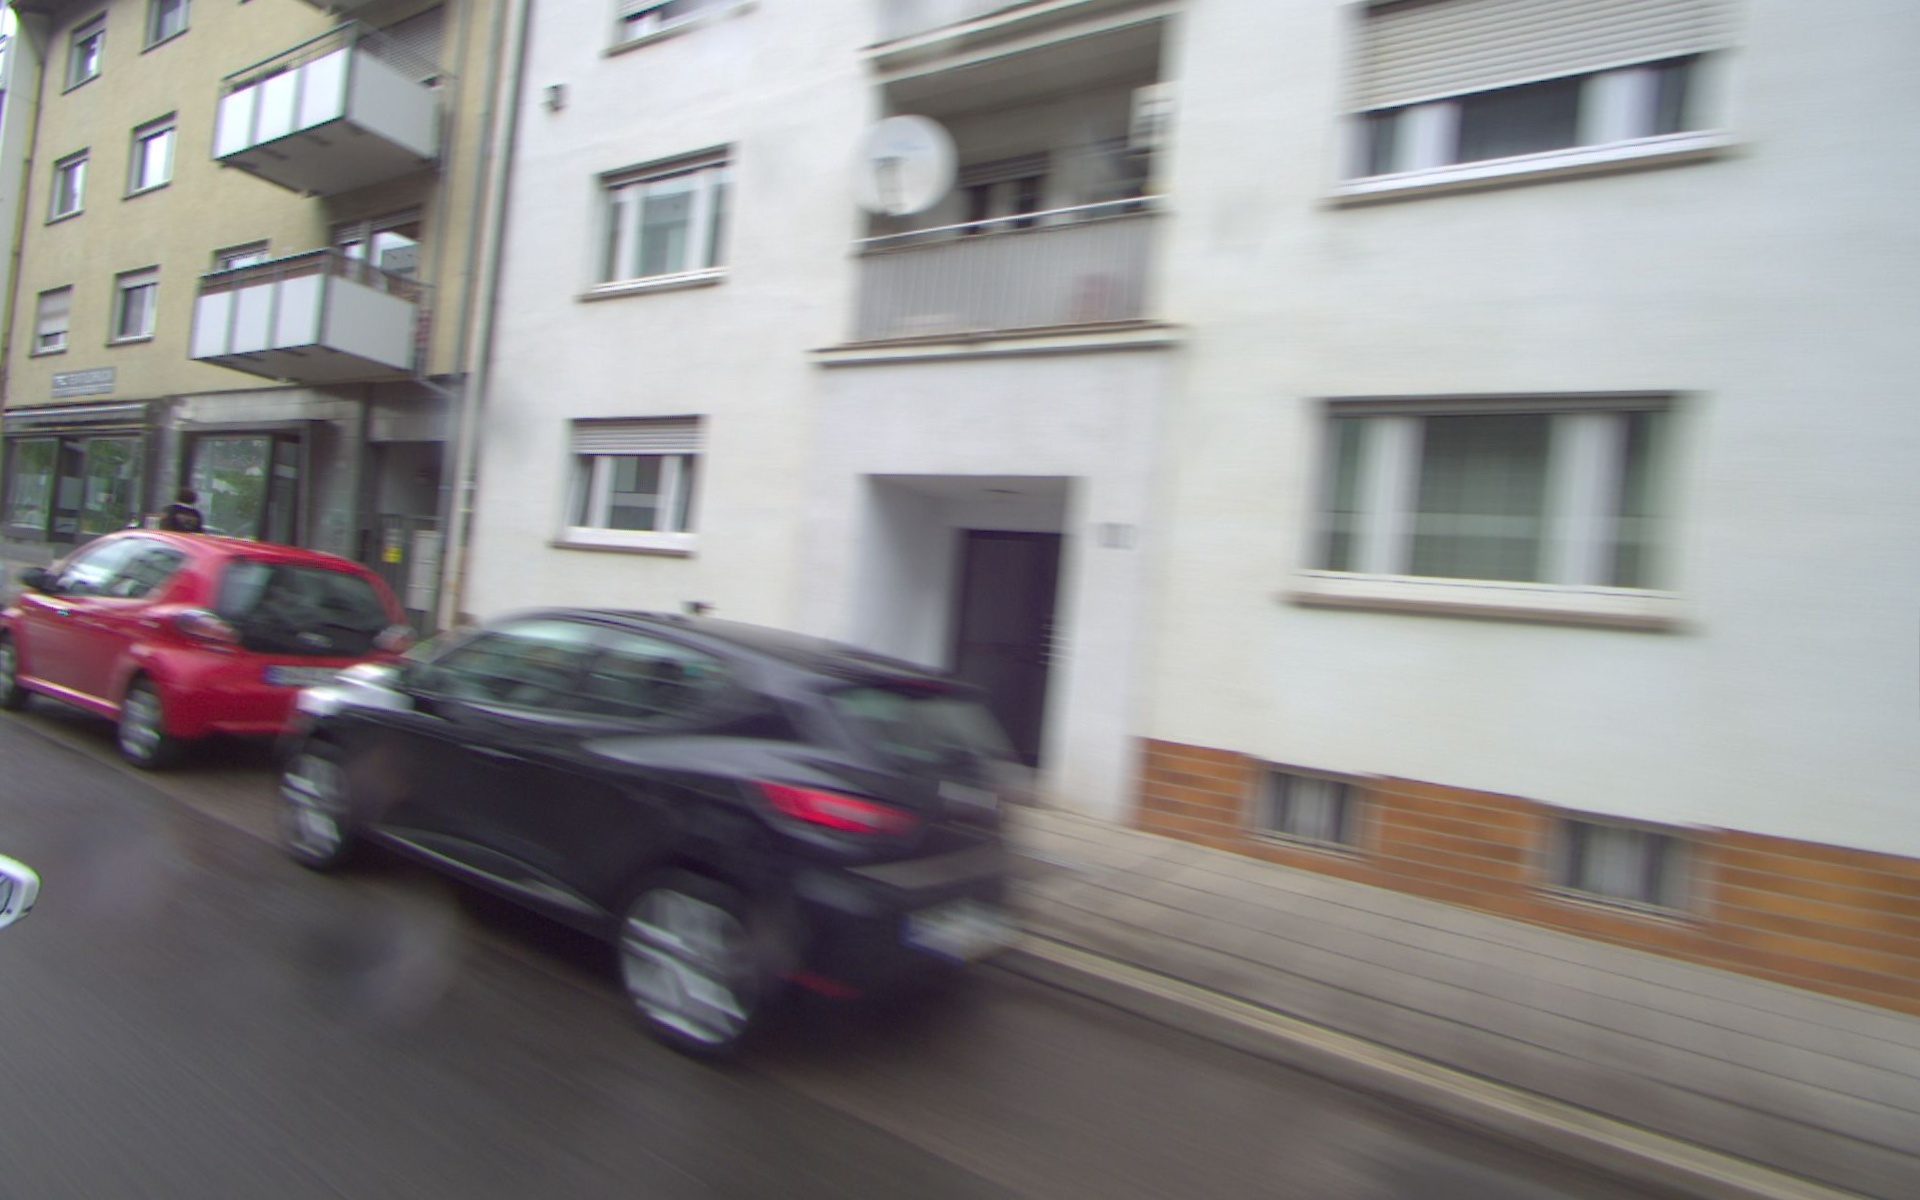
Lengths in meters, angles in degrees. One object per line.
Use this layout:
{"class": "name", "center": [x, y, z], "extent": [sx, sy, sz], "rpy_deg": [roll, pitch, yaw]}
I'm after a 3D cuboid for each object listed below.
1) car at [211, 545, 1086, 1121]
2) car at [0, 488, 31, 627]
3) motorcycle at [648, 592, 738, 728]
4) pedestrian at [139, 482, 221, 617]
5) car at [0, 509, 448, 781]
{"class": "car", "center": [-1.614, 0.732, 4.806], "extent": [3.918, 1.471, 1.709], "rpy_deg": [7, -1, 31]}
{"class": "car", "center": [-13.004, -0.735, 12.100], "extent": [3.649, 1.589, 1.638], "rpy_deg": [7, -1, 31]}
{"class": "motorcycle", "center": [-2.524, 0.555, 9.491], "extent": [0.768, 1.179, 0.253], "rpy_deg": [7, -1, 35]}
{"class": "pedestrian", "center": [-11.532, -0.735, 14.886], "extent": [0.530, 1.892, 0.640], "rpy_deg": [7, -1, 33]}
{"class": "car", "center": [-5.707, 0.250, 7.515], "extent": [3.593, 1.430, 1.585], "rpy_deg": [7, -1, 31]}
